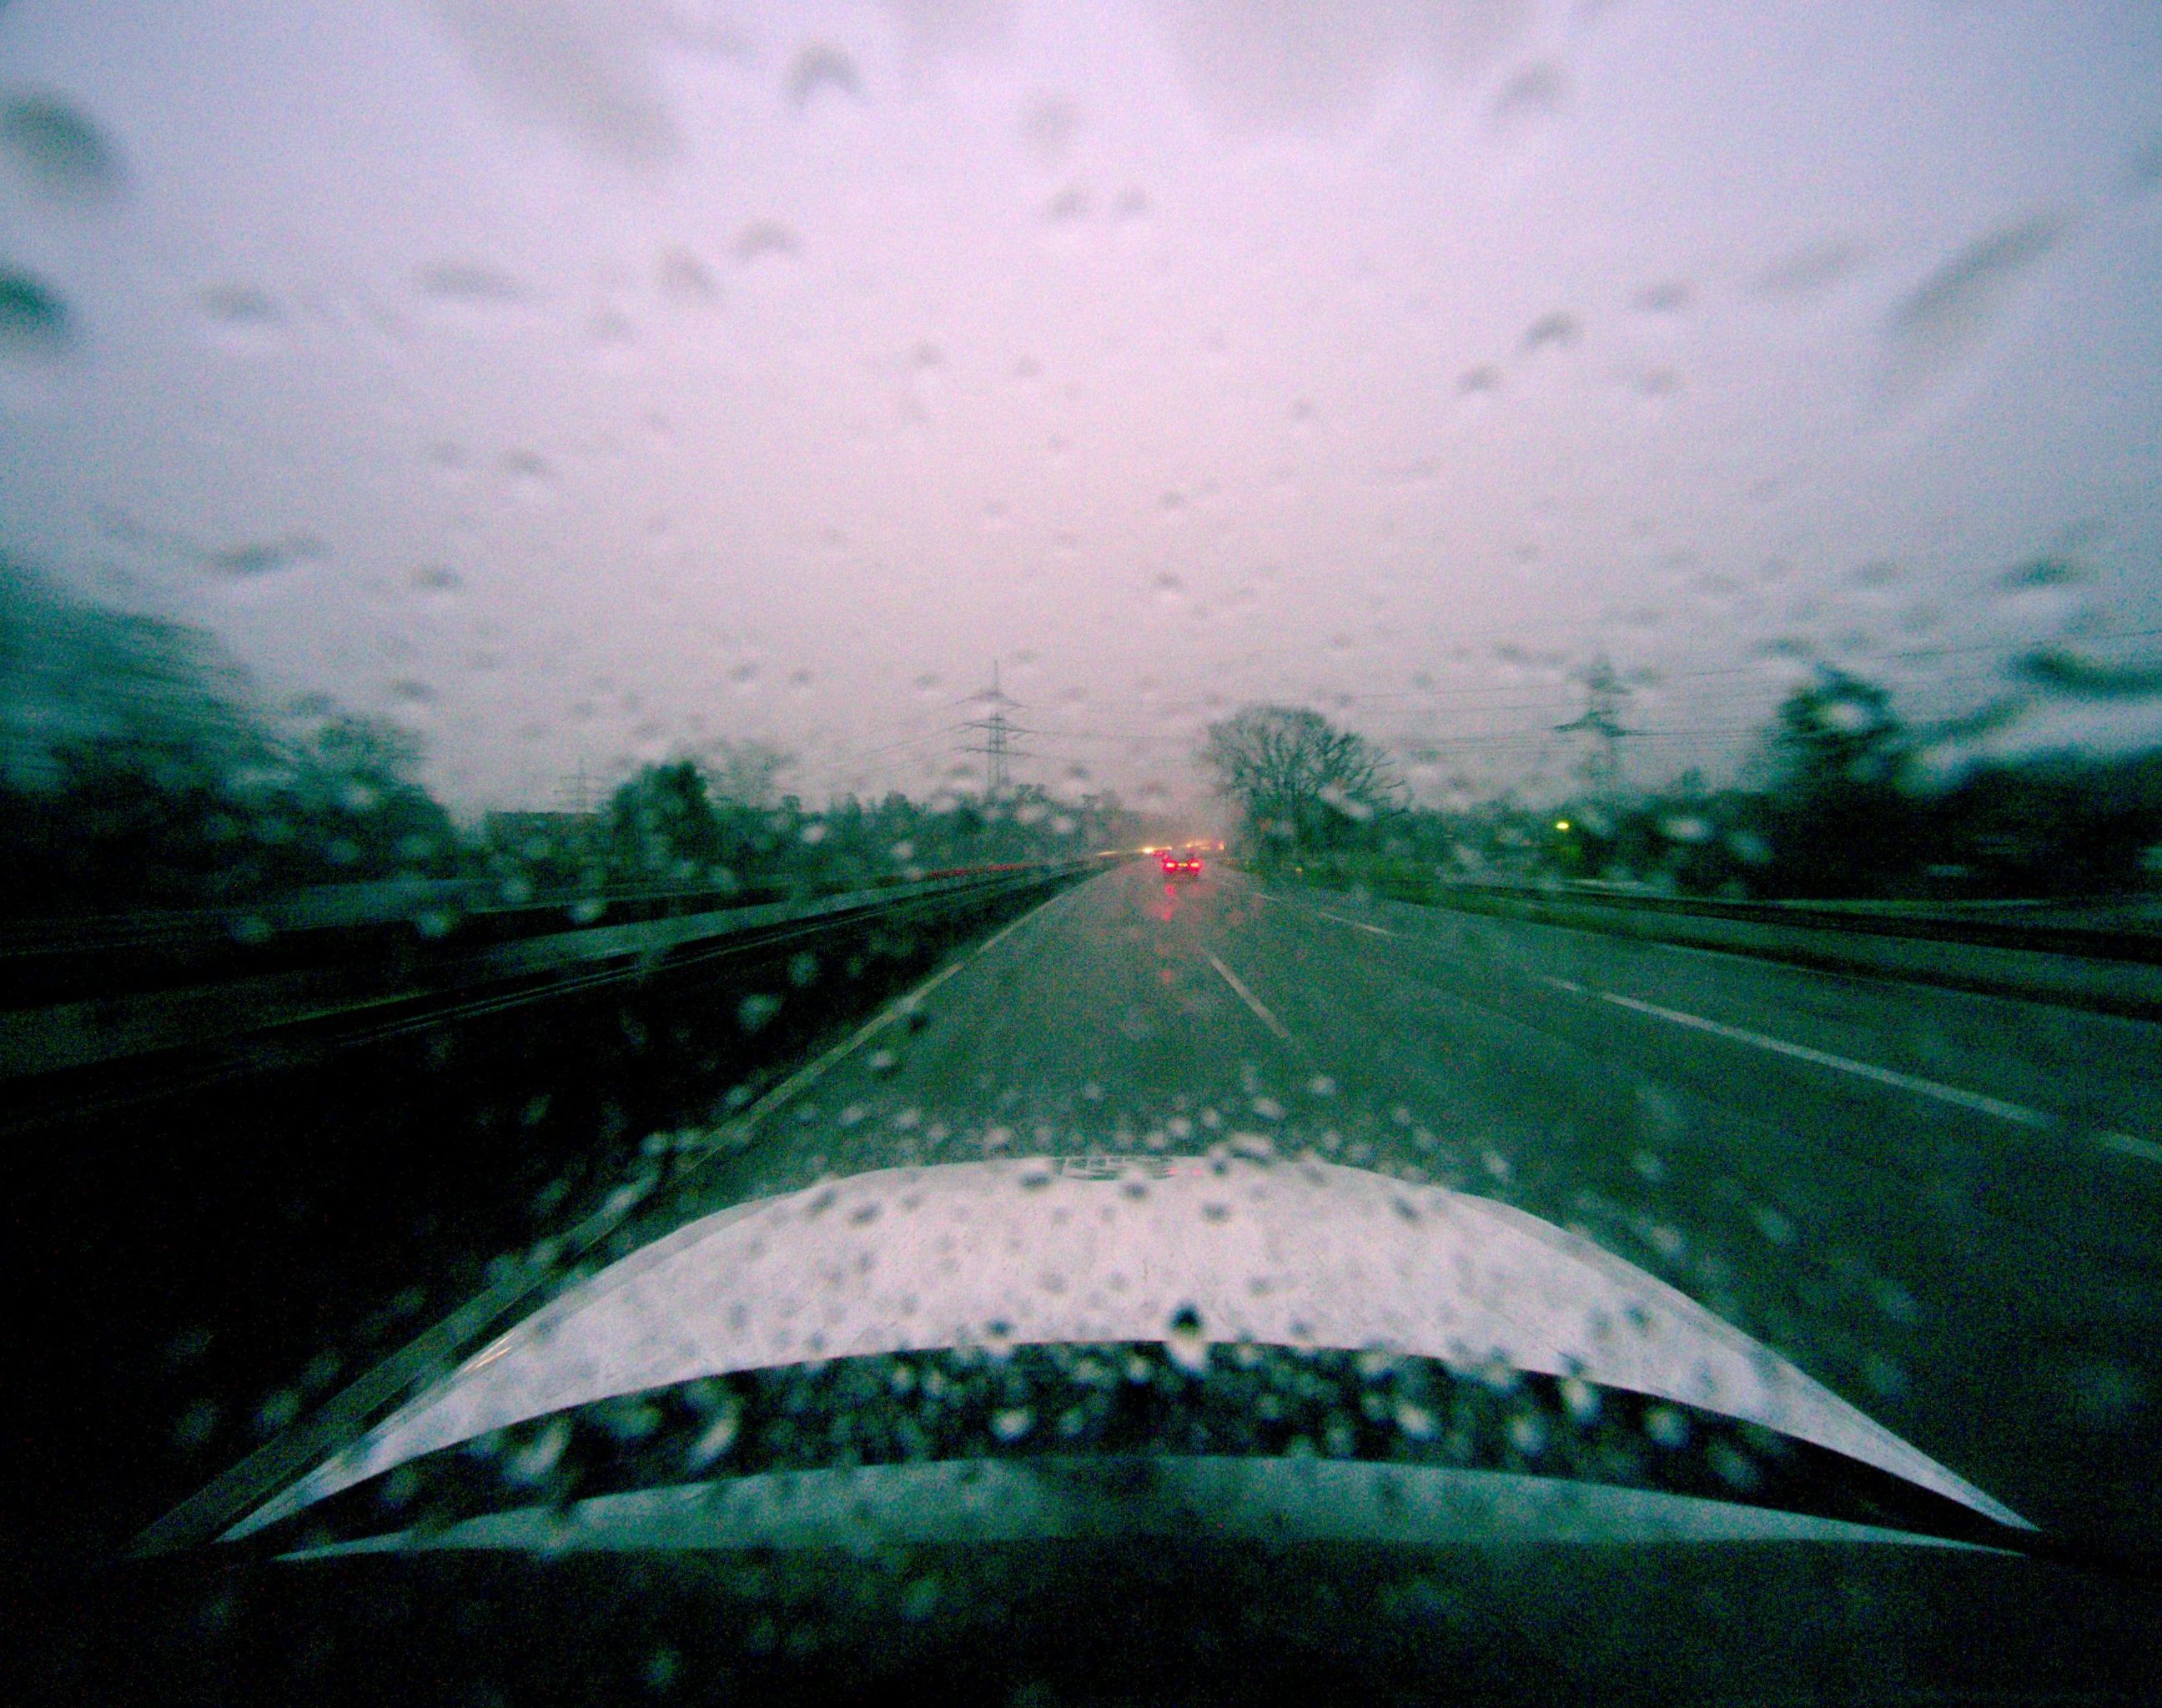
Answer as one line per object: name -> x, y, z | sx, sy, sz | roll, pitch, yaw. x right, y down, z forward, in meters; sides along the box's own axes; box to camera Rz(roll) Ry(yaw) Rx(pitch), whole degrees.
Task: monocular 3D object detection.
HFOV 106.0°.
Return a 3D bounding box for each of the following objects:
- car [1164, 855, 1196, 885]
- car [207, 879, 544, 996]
car -> 5.614, 0.882, 46.504 | 1.670, 1.508, 3.814 | -1, 1, 5
car -> -10.392, 1.132, 12.474 | 1.527, 1.365, 4.003 | 1, 0, 3
